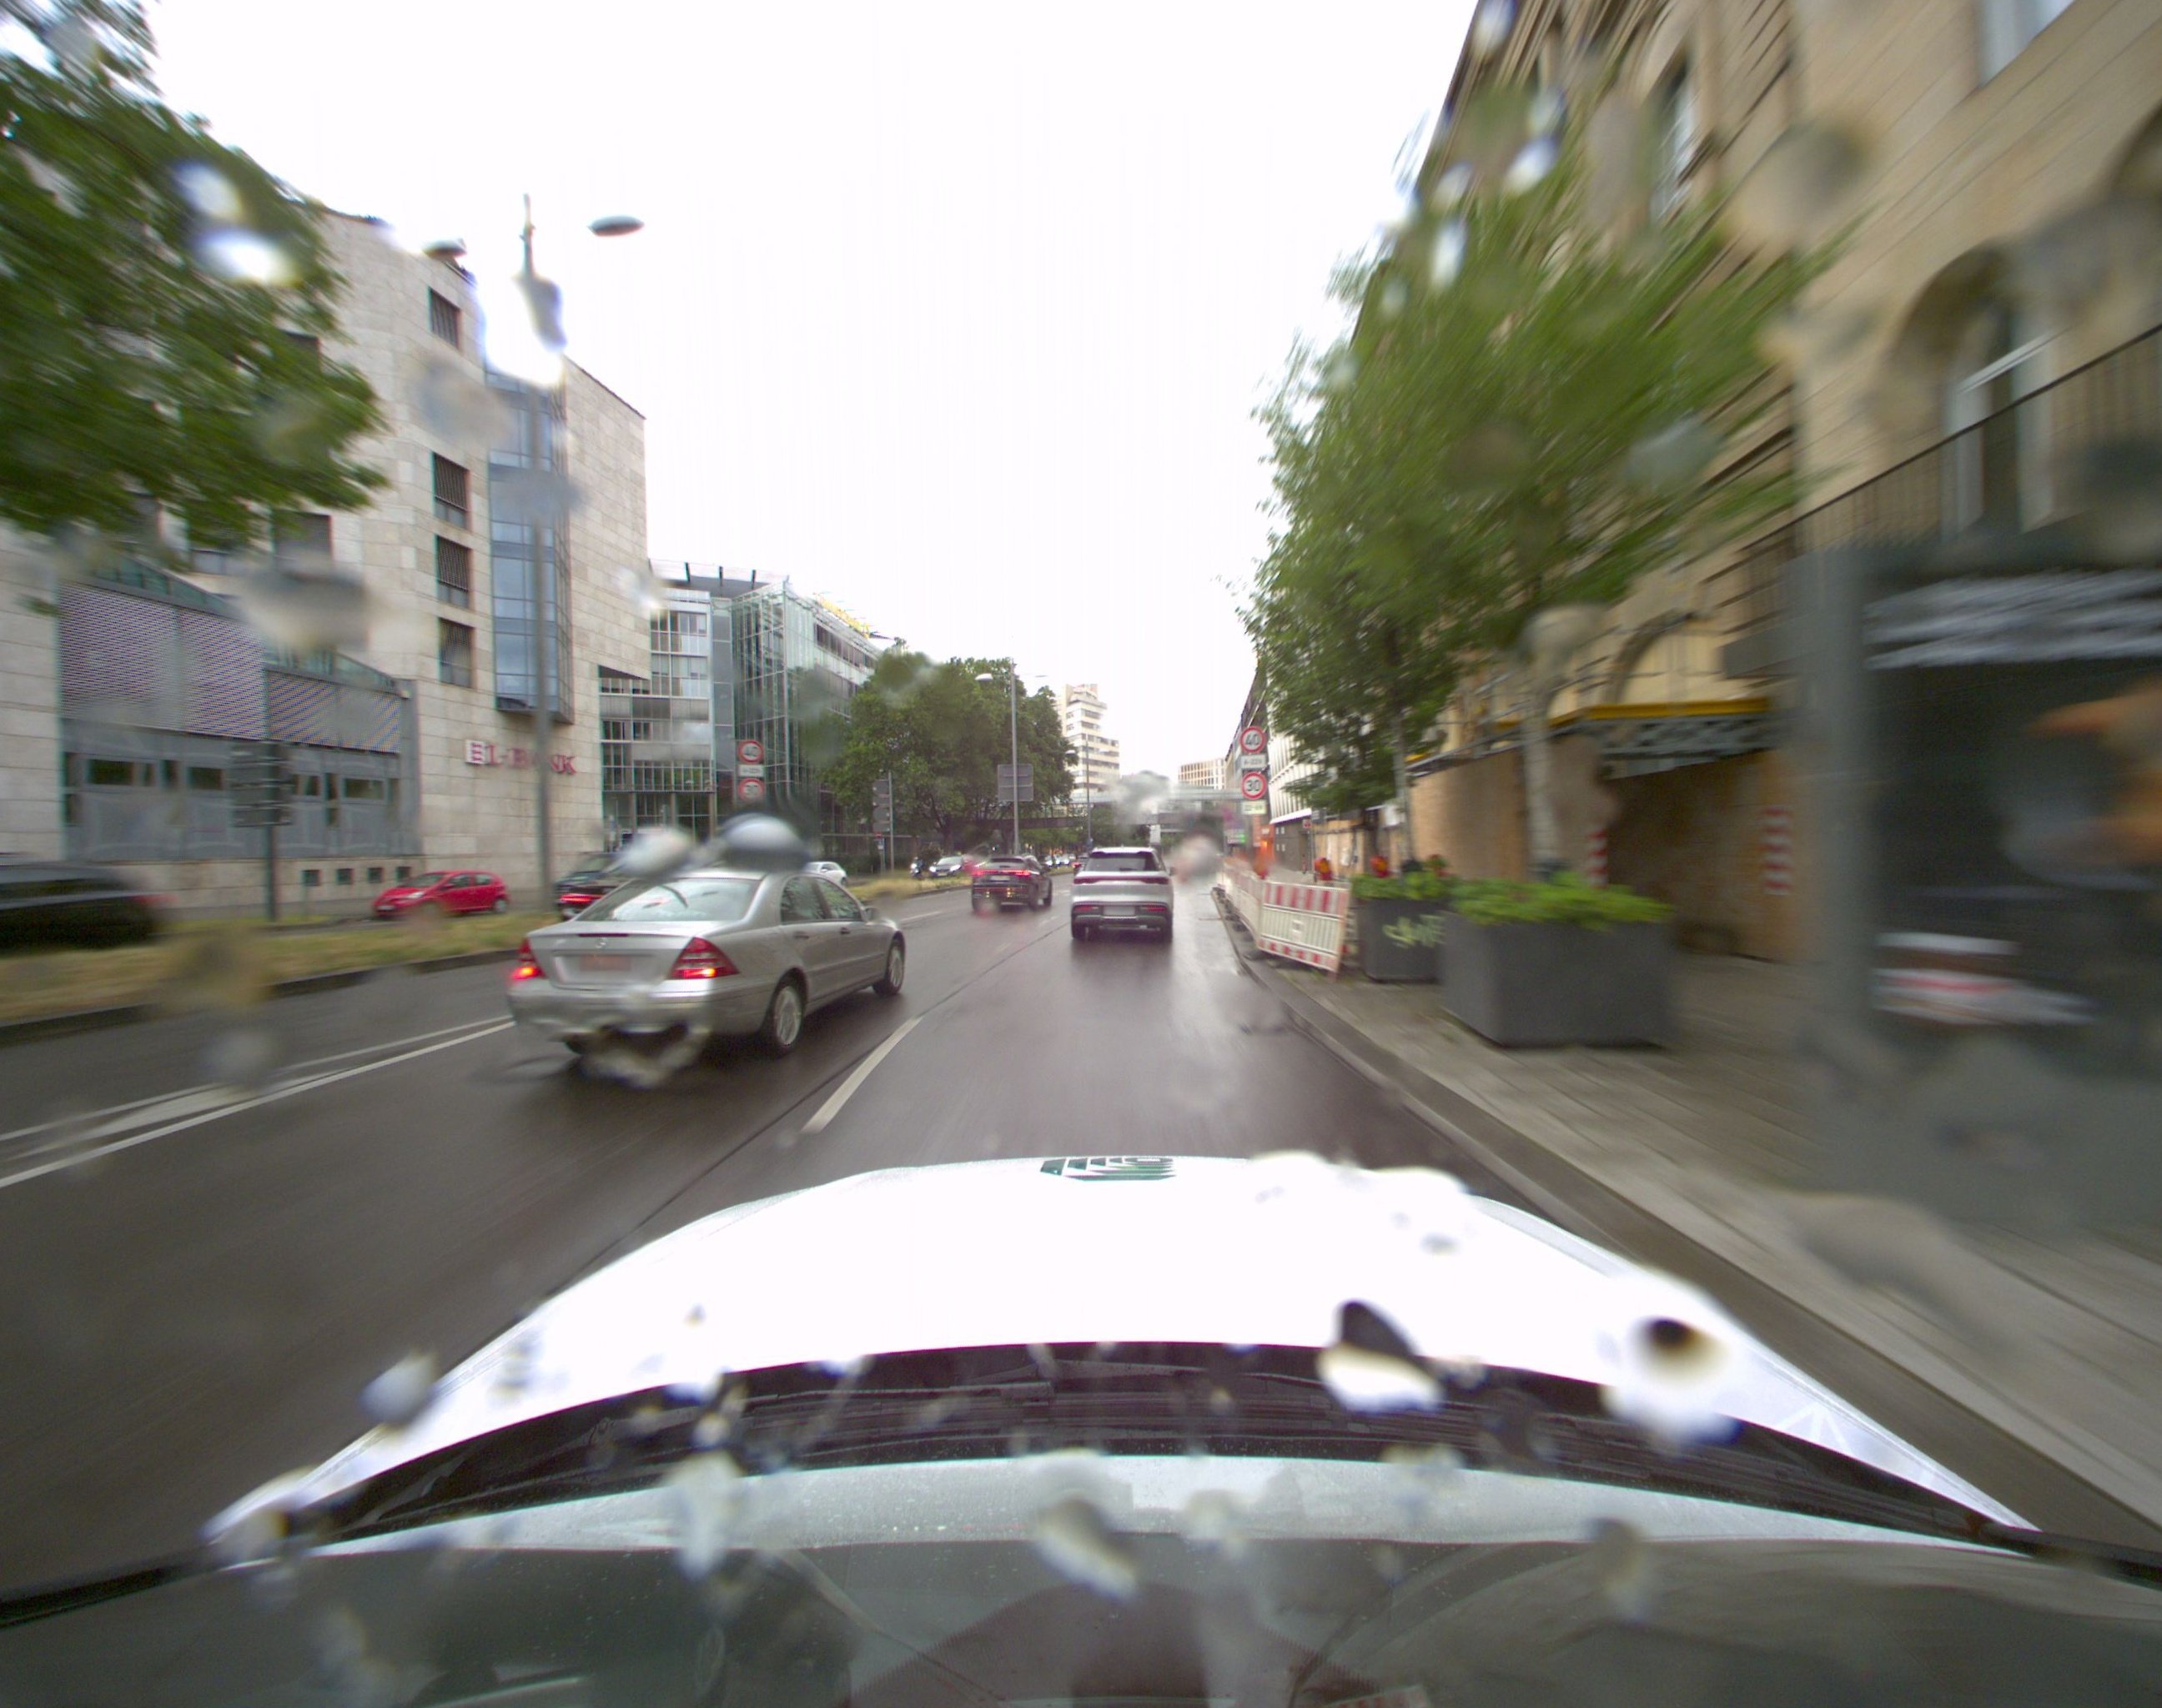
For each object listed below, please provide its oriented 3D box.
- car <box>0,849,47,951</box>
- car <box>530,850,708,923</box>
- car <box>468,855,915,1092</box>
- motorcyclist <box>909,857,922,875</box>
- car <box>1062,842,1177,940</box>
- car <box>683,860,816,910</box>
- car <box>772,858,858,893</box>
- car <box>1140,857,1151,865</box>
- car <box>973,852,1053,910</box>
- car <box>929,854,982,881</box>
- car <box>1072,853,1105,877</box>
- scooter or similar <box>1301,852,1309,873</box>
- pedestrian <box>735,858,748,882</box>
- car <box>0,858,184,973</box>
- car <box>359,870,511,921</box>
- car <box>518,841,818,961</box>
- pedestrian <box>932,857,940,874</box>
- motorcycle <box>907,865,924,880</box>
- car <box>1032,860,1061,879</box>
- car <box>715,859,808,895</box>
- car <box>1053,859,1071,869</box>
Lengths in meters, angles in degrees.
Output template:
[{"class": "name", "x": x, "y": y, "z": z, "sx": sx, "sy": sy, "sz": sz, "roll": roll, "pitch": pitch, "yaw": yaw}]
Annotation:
[{"class": "car", "x": -18.323, "y": 0.742, "z": 11.647, "sx": 1.825, "sy": 1.639, "sz": 4.091, "roll": -1, "pitch": -1, "yaw": 0}, {"class": "car", "x": -13.896, "y": 0.926, "z": 24.934, "sx": 1.819, "sy": 2.002, "sz": 5.120, "roll": -1, "pitch": -1, "yaw": 11}, {"class": "car", "x": -2.953, "y": 0.759, "z": 7.389, "sx": 1.664, "sy": 1.479, "sz": 4.366, "roll": 0, "pitch": 0, "yaw": 5}, {"class": "motorcyclist", "x": -11.596, "y": 0.851, "z": 57.053, "sx": 0.670, "sy": 1.238, "sz": 0.621, "roll": -1, "pitch": 0, "yaw": 9}, {"class": "car", "x": 0.852, "y": 0.642, "z": 15.630, "sx": 1.891, "sy": 1.621, "sz": 4.006, "roll": -1, "pitch": -1, "yaw": 6}, {"class": "car", "x": -10.470, "y": 0.940, "z": 26.102, "sx": 1.848, "sy": 1.442, "sz": 4.326, "roll": -1, "pitch": -1, "yaw": 11}, {"class": "car", "x": -11.867, "y": 0.944, "z": 36.670, "sx": 1.715, "sy": 1.432, "sz": 4.409, "roll": -1, "pitch": -1, "yaw": 11}, {"class": "car", "x": 11.886, "y": 1.261, "z": 149.665, "sx": 1.643, "sy": 1.342, "sz": 4.011, "roll": -1, "pitch": 0, "yaw": 10}, {"class": "car", "x": -1.804, "y": 0.719, "z": 22.843, "sx": 1.767, "sy": 1.457, "sz": 4.001, "roll": -1, "pitch": -1, "yaw": 1}, {"class": "car", "x": -7.050, "y": 0.754, "z": 46.151, "sx": 1.690, "sy": 1.437, "sz": 4.593, "roll": -1, "pitch": -1, "yaw": 8}, {"class": "car", "x": 0.548, "y": 0.720, "z": 55.669, "sx": 1.802, "sy": 1.578, "sz": 4.008, "roll": -1, "pitch": 0, "yaw": 7}, {"class": "scooter or similar", "x": 13.520, "y": 0.501, "z": 49.100, "sx": 0.408, "sy": 1.236, "sz": 1.194, "roll": -1, "pitch": 0, "yaw": 17}, {"class": "pedestrian", "x": -22.558, "y": 1.045, "z": 54.093, "sx": 0.667, "sy": 1.570, "sz": 0.818, "roll": -1, "pitch": 1, "yaw": -14}, {"class": "car", "x": -13.720, "y": 0.743, "z": 9.533, "sx": 1.735, "sy": 1.365, "sz": 3.957, "roll": -1, "pitch": -1, "yaw": 13}, {"class": "car", "x": -19.798, "y": 1.225, "z": 25.143, "sx": 1.581, "sy": 1.416, "sz": 3.412, "roll": -1, "pitch": -1, "yaw": 12}, {"class": "car", "x": -6.381, "y": 0.605, "z": 13.431, "sx": 1.862, "sy": 1.478, "sz": 4.890, "roll": -3, "pitch": 1, "yaw": 8}, {"class": "pedestrian", "x": -15.690, "y": 1.273, "z": 87.993, "sx": 0.593, "sy": 1.807, "sz": 0.761, "roll": -1, "pitch": 0, "yaw": 8}, {"class": "motorcycle", "x": -11.601, "y": 1.296, "z": 57.054, "sx": 0.690, "sy": 0.970, "sz": 1.400, "roll": -1, "pitch": 0, "yaw": 9}, {"class": "car", "x": -3.184, "y": 1.430, "z": 76.566, "sx": 1.863, "sy": 1.680, "sz": 4.691, "roll": -1, "pitch": -1, "yaw": 8}, {"class": "car", "x": -14.542, "y": 1.005, "z": 37.347, "sx": 1.715, "sy": 1.532, "sz": 4.654, "roll": -1, "pitch": -1, "yaw": 11}, {"class": "car", "x": -2.687, "y": 1.426, "z": 115.180, "sx": 1.681, "sy": 1.438, "sz": 4.769, "roll": -1, "pitch": -1, "yaw": 8}]
